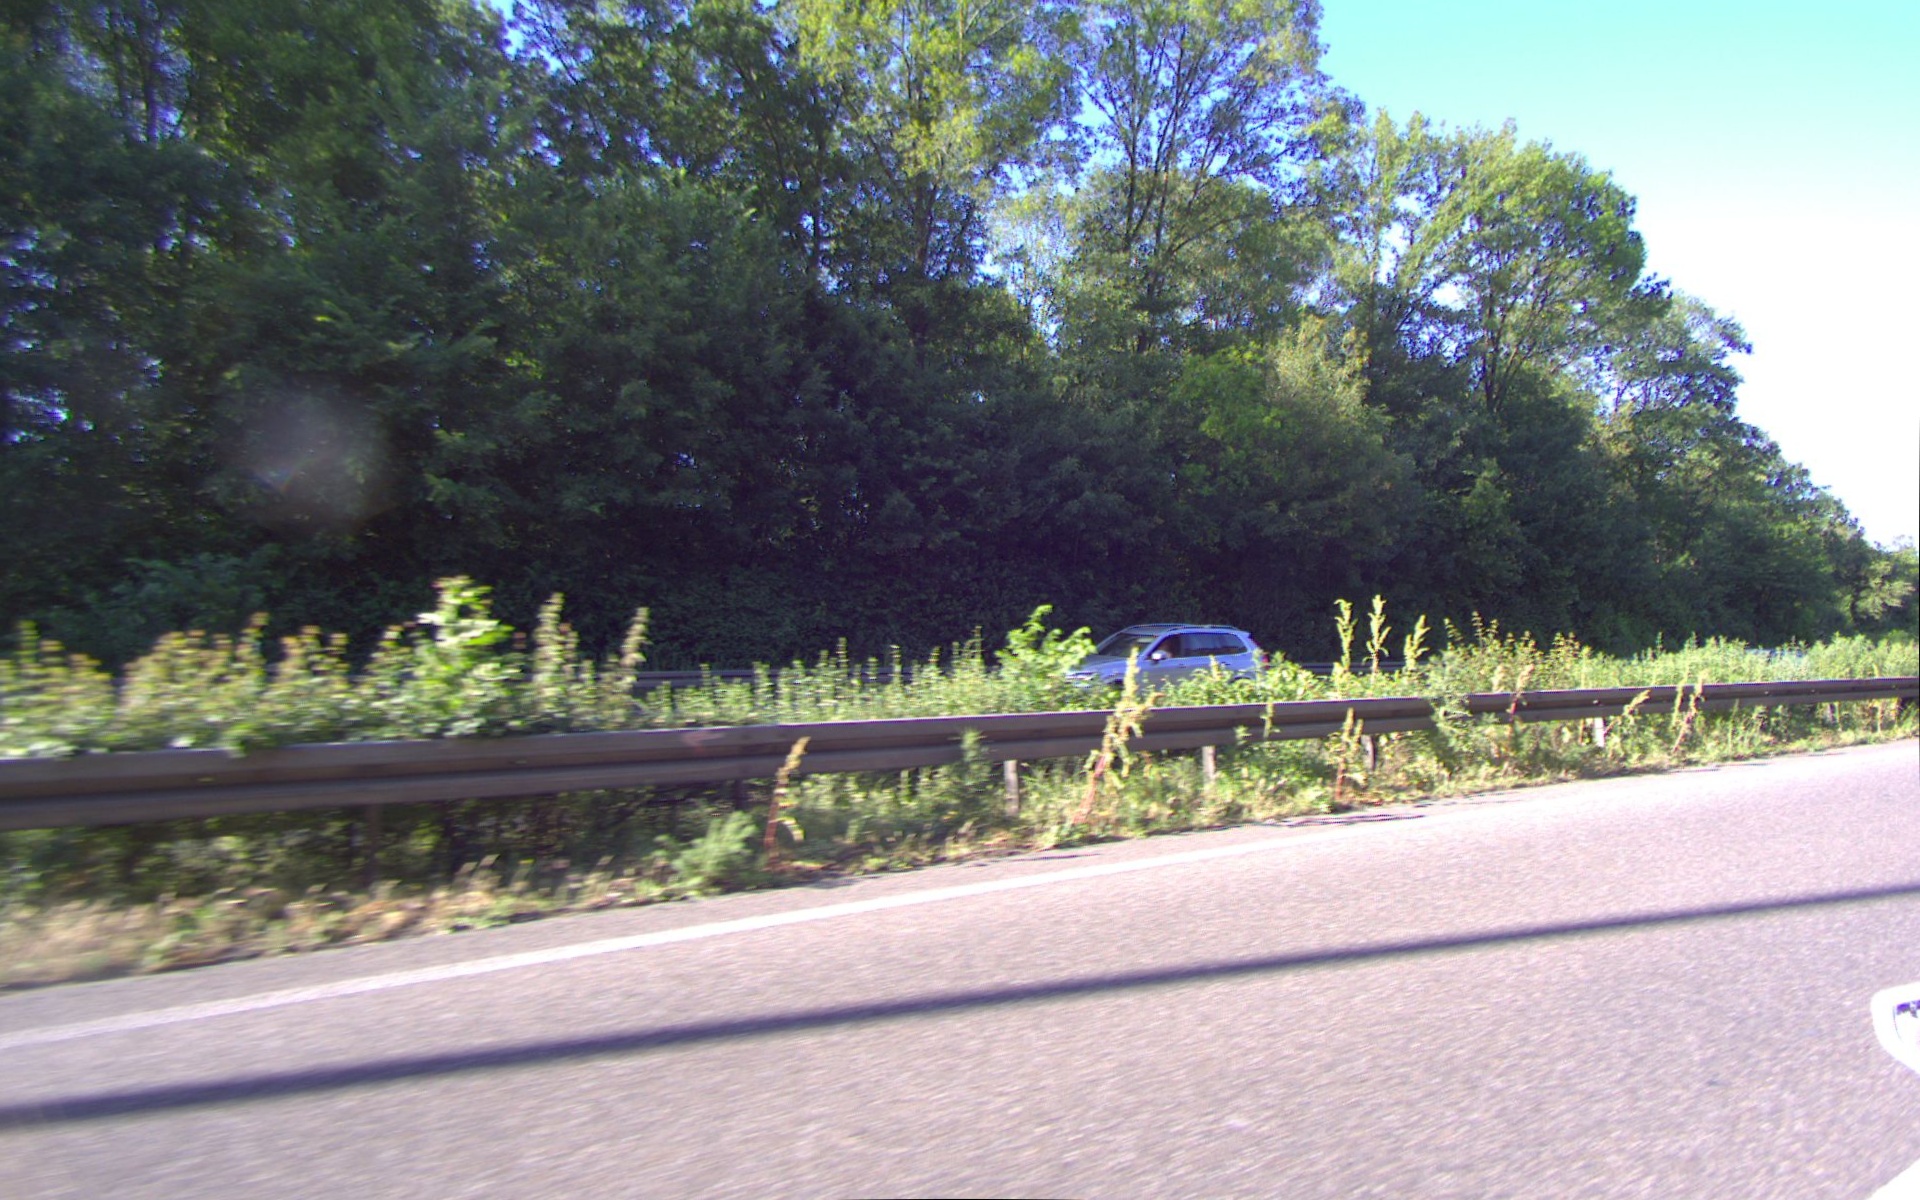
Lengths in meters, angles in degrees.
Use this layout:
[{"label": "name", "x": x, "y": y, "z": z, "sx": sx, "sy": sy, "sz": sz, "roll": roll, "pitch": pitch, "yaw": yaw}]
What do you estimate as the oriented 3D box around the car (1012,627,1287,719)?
[{"label": "car", "x": 3.670, "y": 1.318, "z": 19.074, "sx": 5.181, "sy": 1.506, "sz": 1.983, "roll": 2, "pitch": -1, "yaw": -32}]
